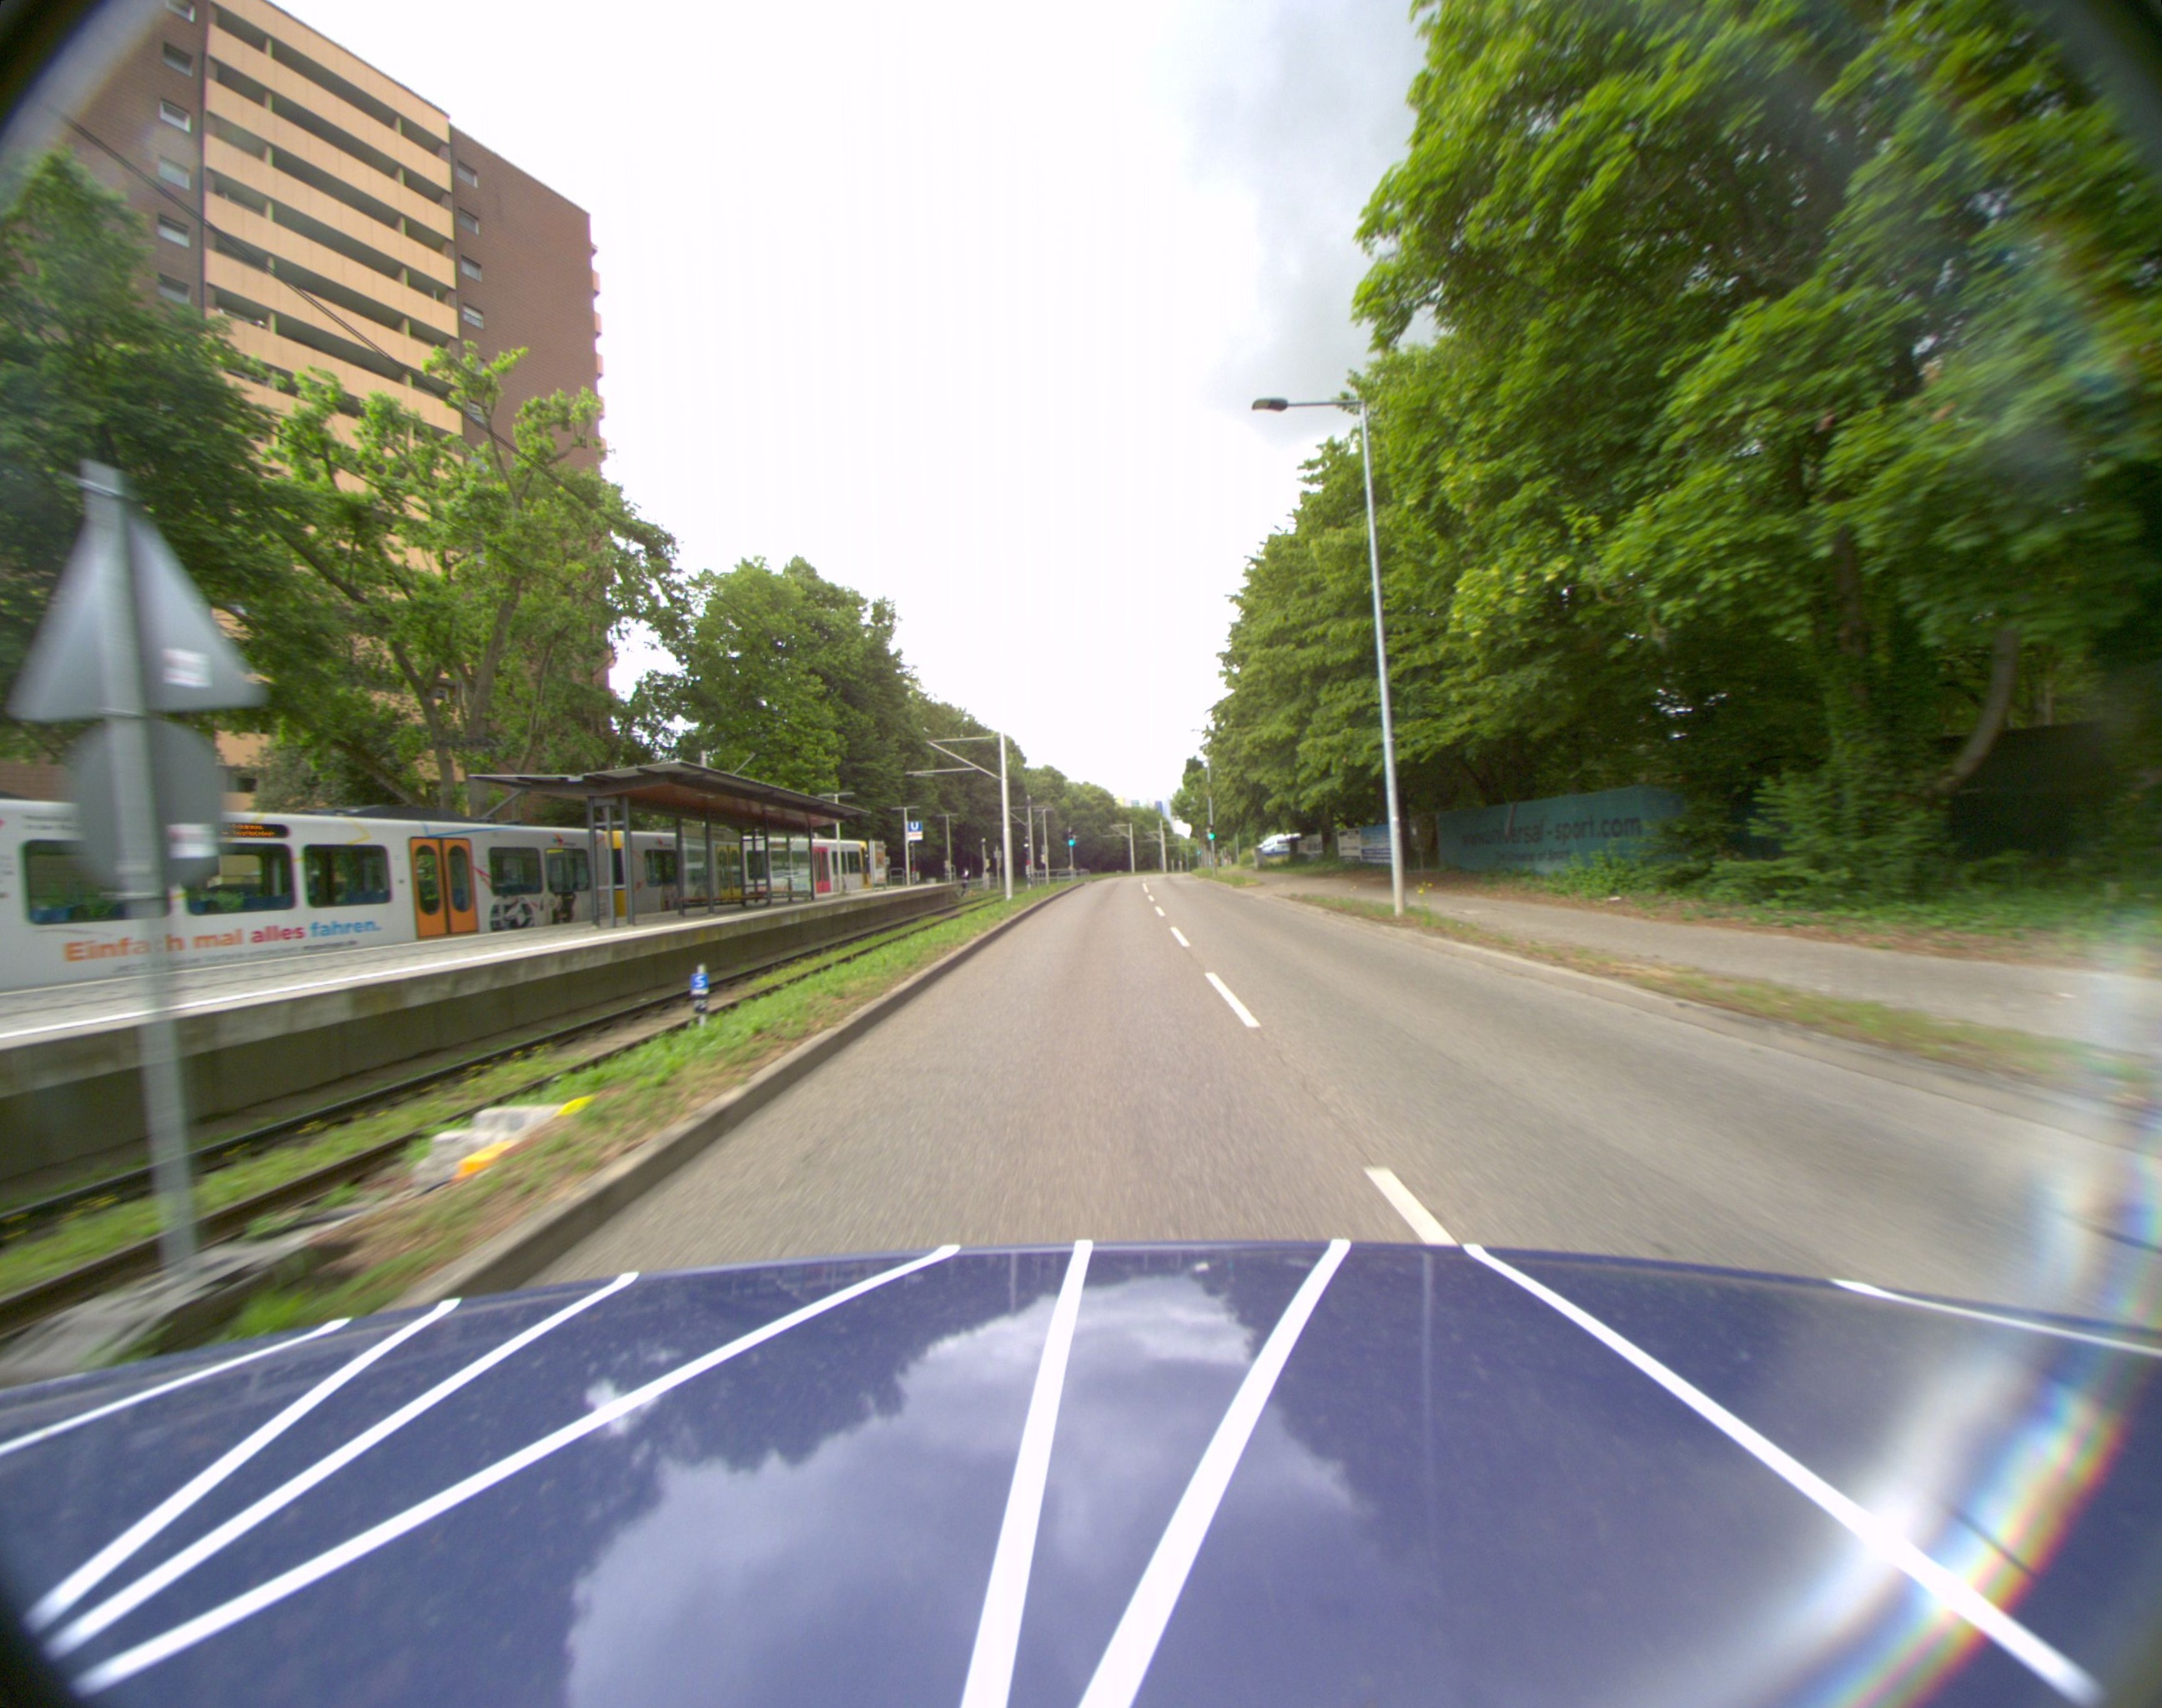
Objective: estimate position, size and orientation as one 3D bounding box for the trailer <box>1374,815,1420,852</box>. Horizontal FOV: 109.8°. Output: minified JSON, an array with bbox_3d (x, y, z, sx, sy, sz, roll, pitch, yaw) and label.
[{"bbox_3d":[29.314,-1.842,70.845,2.652,3.056,7.202,-4,0,13],"label":"trailer"}]

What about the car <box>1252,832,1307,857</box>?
[{"bbox_3d":[19.855,-0.912,76.177,5.164,2.093,2.217,-4,-2,13],"label":"car"}]

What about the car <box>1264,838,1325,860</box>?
[{"bbox_3d":[19.348,-0.428,69.201,5.164,1.552,1.888,-4,-2,13],"label":"car"}]

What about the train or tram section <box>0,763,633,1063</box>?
[{"bbox_3d":[-14.829,0.829,12.104,2.820,3.776,18.938,-4,0,4],"label":"train or tram section"}]

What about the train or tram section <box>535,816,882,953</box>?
[{"bbox_3d":[-13.097,0.859,30.927,2.819,3.715,18.541,-4,0,7],"label":"train or tram section"}]

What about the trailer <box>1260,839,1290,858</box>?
[{"bbox_3d":[23.132,-0.653,90.552,3.370,2.045,1.680,-3,-1,17],"label":"trailer"}]

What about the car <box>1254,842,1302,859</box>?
[{"bbox_3d":[18.922,-0.354,73.042,4.384,1.308,1.565,-4,-2,13],"label":"car"}]

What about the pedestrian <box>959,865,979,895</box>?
[{"bbox_3d":[-6.723,1.559,45.596,0.986,1.747,0.729,-4,-1,-3],"label":"pedestrian"}]
